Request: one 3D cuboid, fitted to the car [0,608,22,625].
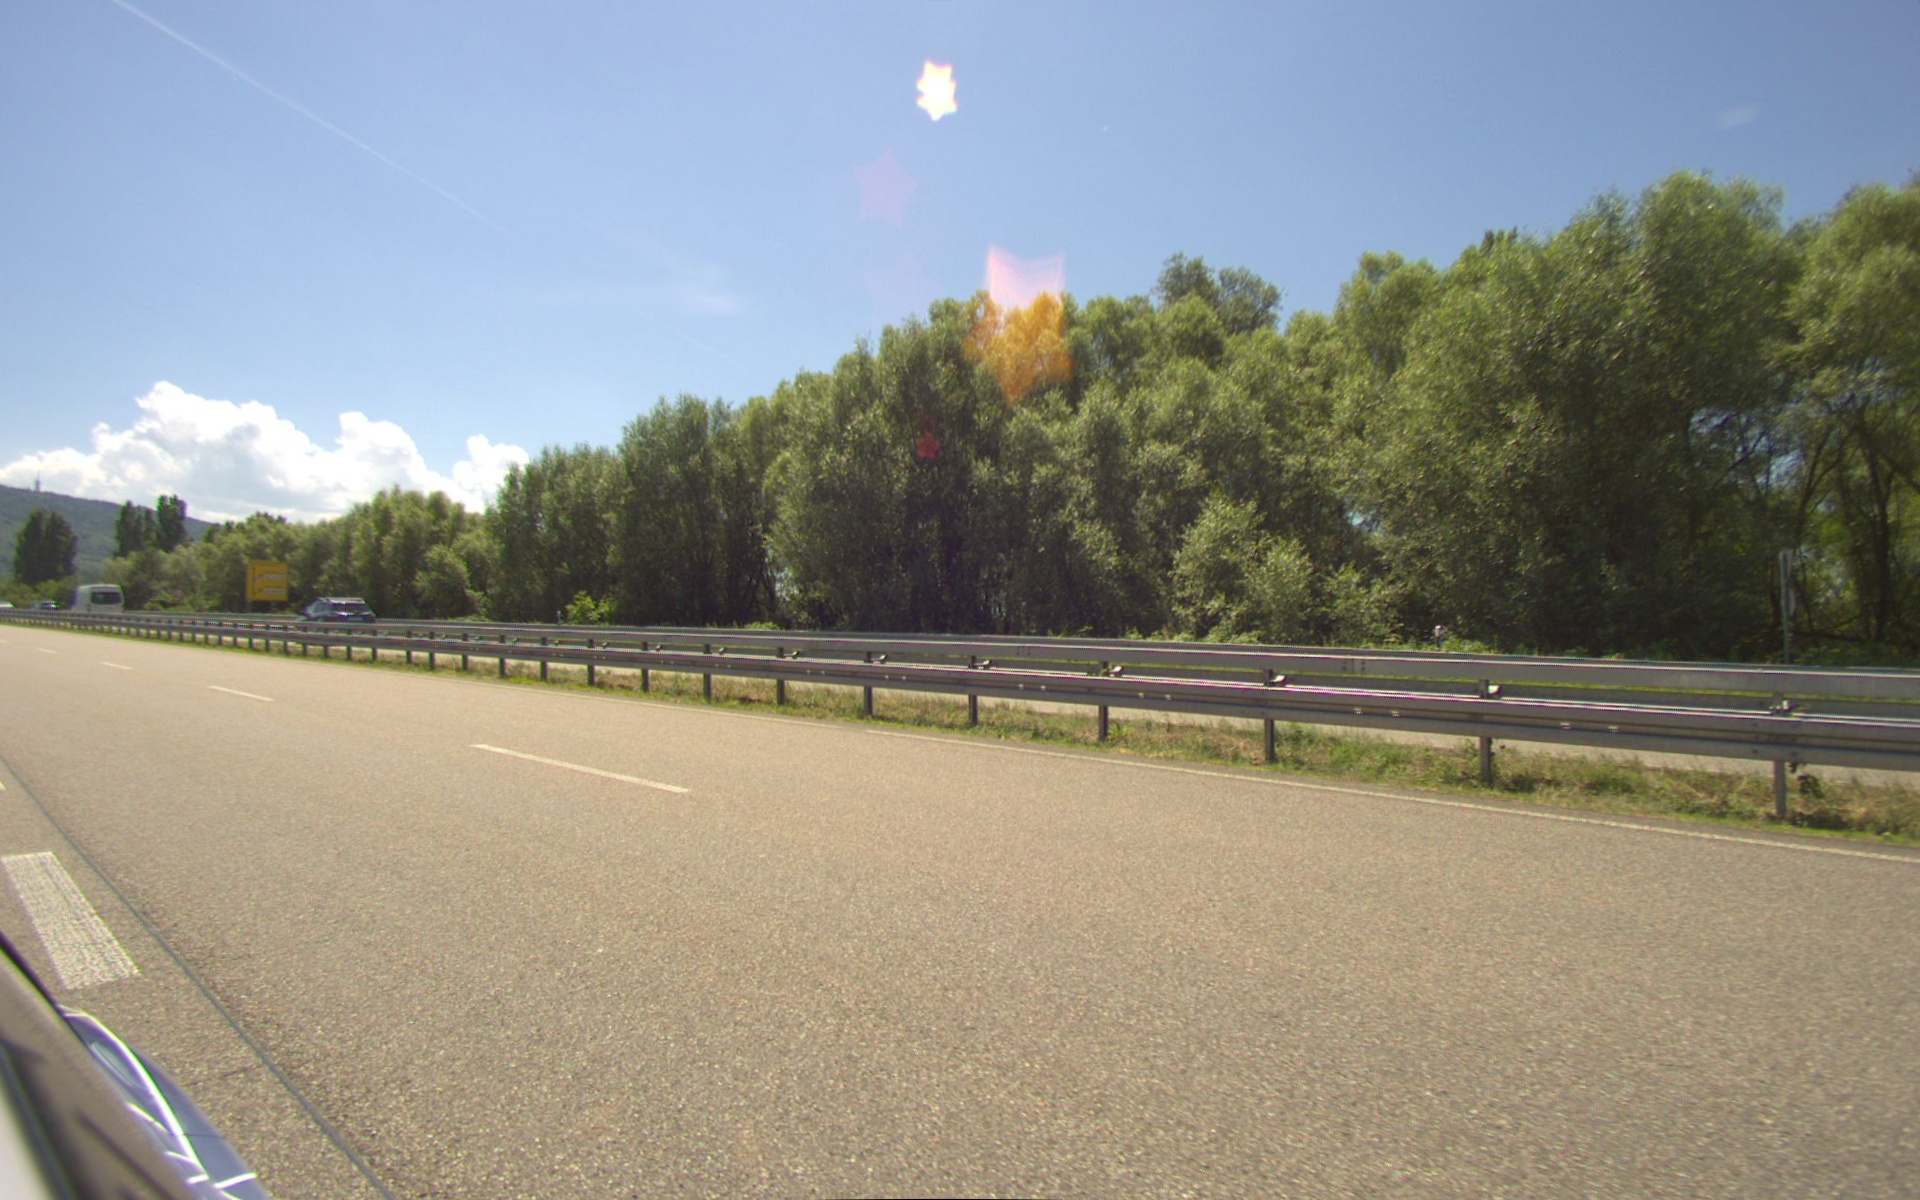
[{"bbox_3d":[-87.738,1.508,92.895,3.995,1.500,1.899,0,-1,39],"label":"car"}]

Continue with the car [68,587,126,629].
[{"bbox_3d":[-58.471,0.526,68.519,6.626,2.703,2.080,0,-1,42],"label":"car"}]

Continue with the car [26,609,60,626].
[{"bbox_3d":[-87.762,1.676,96.820,4.068,1.563,1.673,0,-1,37],"label":"car"}]

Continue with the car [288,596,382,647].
[{"bbox_3d":[-24.195,0.811,39.094,4.658,1.844,1.843,0,-1,42],"label":"car"}]
